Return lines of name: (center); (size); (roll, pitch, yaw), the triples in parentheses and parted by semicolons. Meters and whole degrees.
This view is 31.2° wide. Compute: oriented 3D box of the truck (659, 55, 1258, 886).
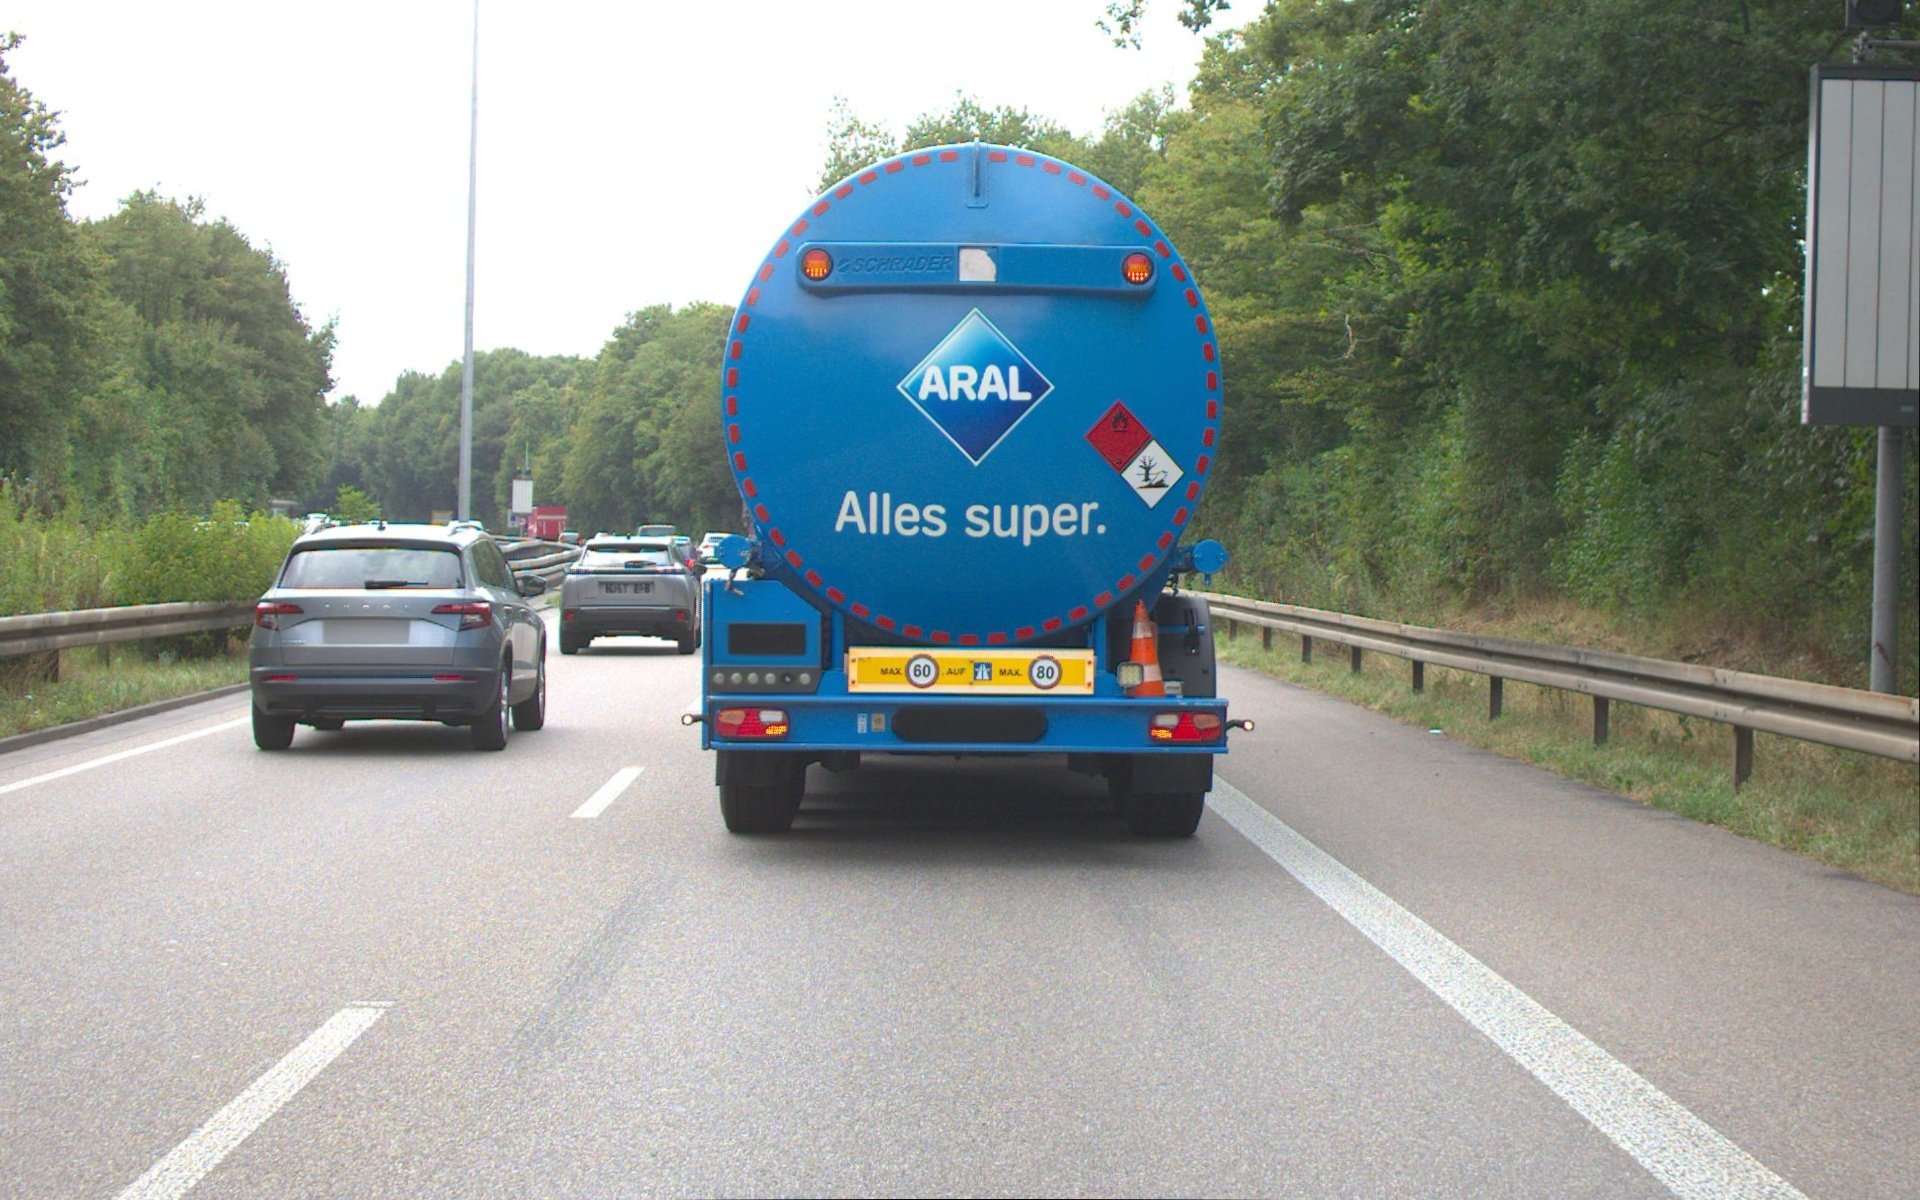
truck: (0.008, -0.650, 19.753); (2.755, 3.833, 7.688); (0, 1, 0)

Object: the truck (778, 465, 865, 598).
truck: (-3.343, -1.645, 83.891); (1.993, 3.082, 7.816); (0, 1, -2)

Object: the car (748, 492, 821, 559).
car: (-6.035, -2.544, 117.641); (1.993, 2.237, 4.001); (0, 1, -10)

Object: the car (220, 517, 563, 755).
car: (-4.092, 0.217, 25.368); (1.826, 1.604, 4.167); (0, 1, 0)

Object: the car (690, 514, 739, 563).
car: (-11.486, -2.866, 160.935); (1.993, 2.237, 4.000); (0, 1, 0)

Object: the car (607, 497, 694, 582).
car: (-7.495, -1.456, 83.620); (1.993, 2.007, 4.001); (0, 1, -4)

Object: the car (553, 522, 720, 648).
car: (-4.300, -0.224, 46.171); (1.826, 1.604, 4.167); (0, 1, 0)

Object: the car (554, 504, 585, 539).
car: (-25.347, -5.109, 223.143); (1.993, 2.237, 4.001); (0, 1, -7)
